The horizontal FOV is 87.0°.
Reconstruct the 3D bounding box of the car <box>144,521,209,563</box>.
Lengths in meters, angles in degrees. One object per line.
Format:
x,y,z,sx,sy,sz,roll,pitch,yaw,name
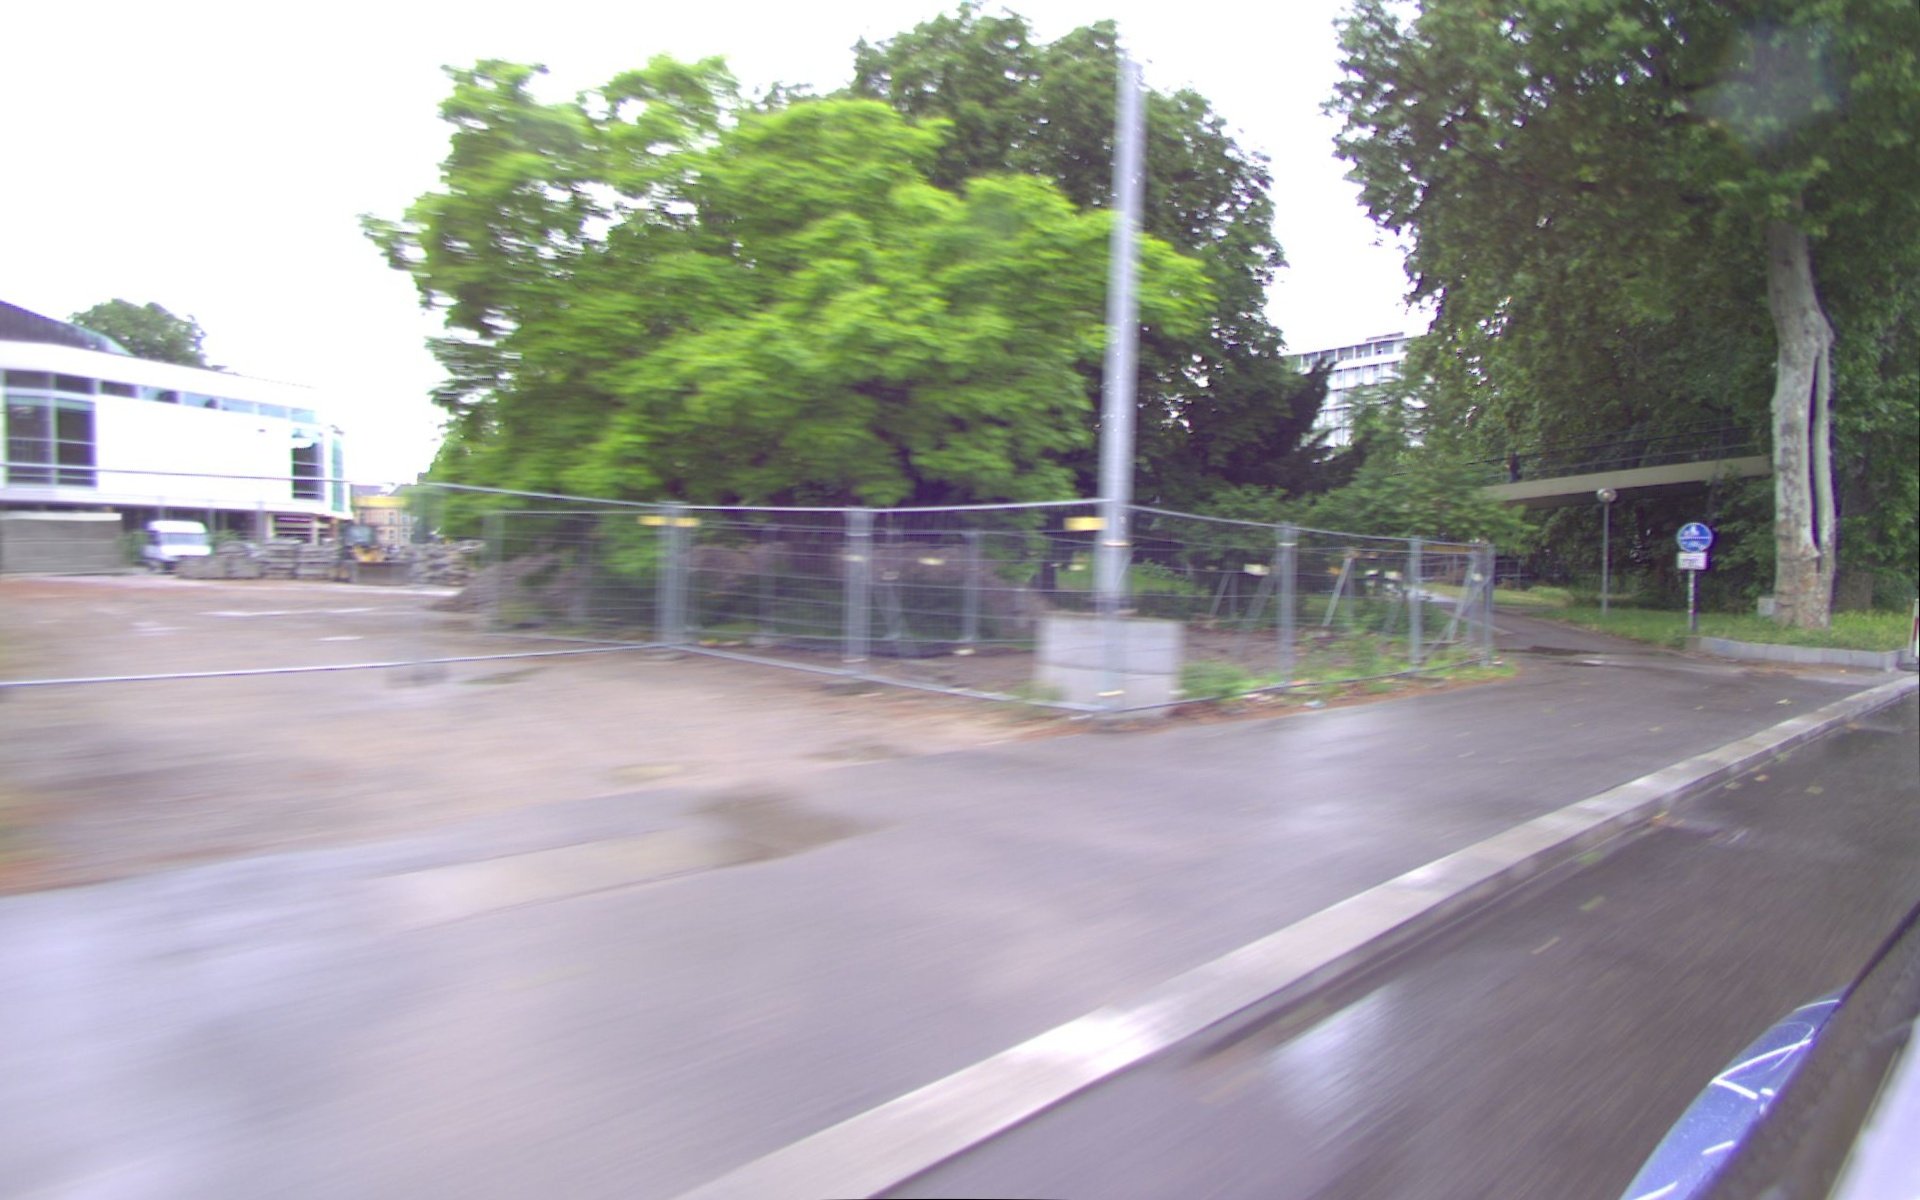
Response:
-39.303,-2.913,50.744,3.987,2.038,1.970,4,4,43,car

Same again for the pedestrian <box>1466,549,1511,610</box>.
18.171,-0.702,34.848,1.035,2.038,1.036,1,2,9,pedestrian

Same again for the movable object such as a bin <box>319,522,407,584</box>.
-27.192,-2.185,46.044,2.455,2.677,4.567,-2,4,-44,movable object such as a bin
